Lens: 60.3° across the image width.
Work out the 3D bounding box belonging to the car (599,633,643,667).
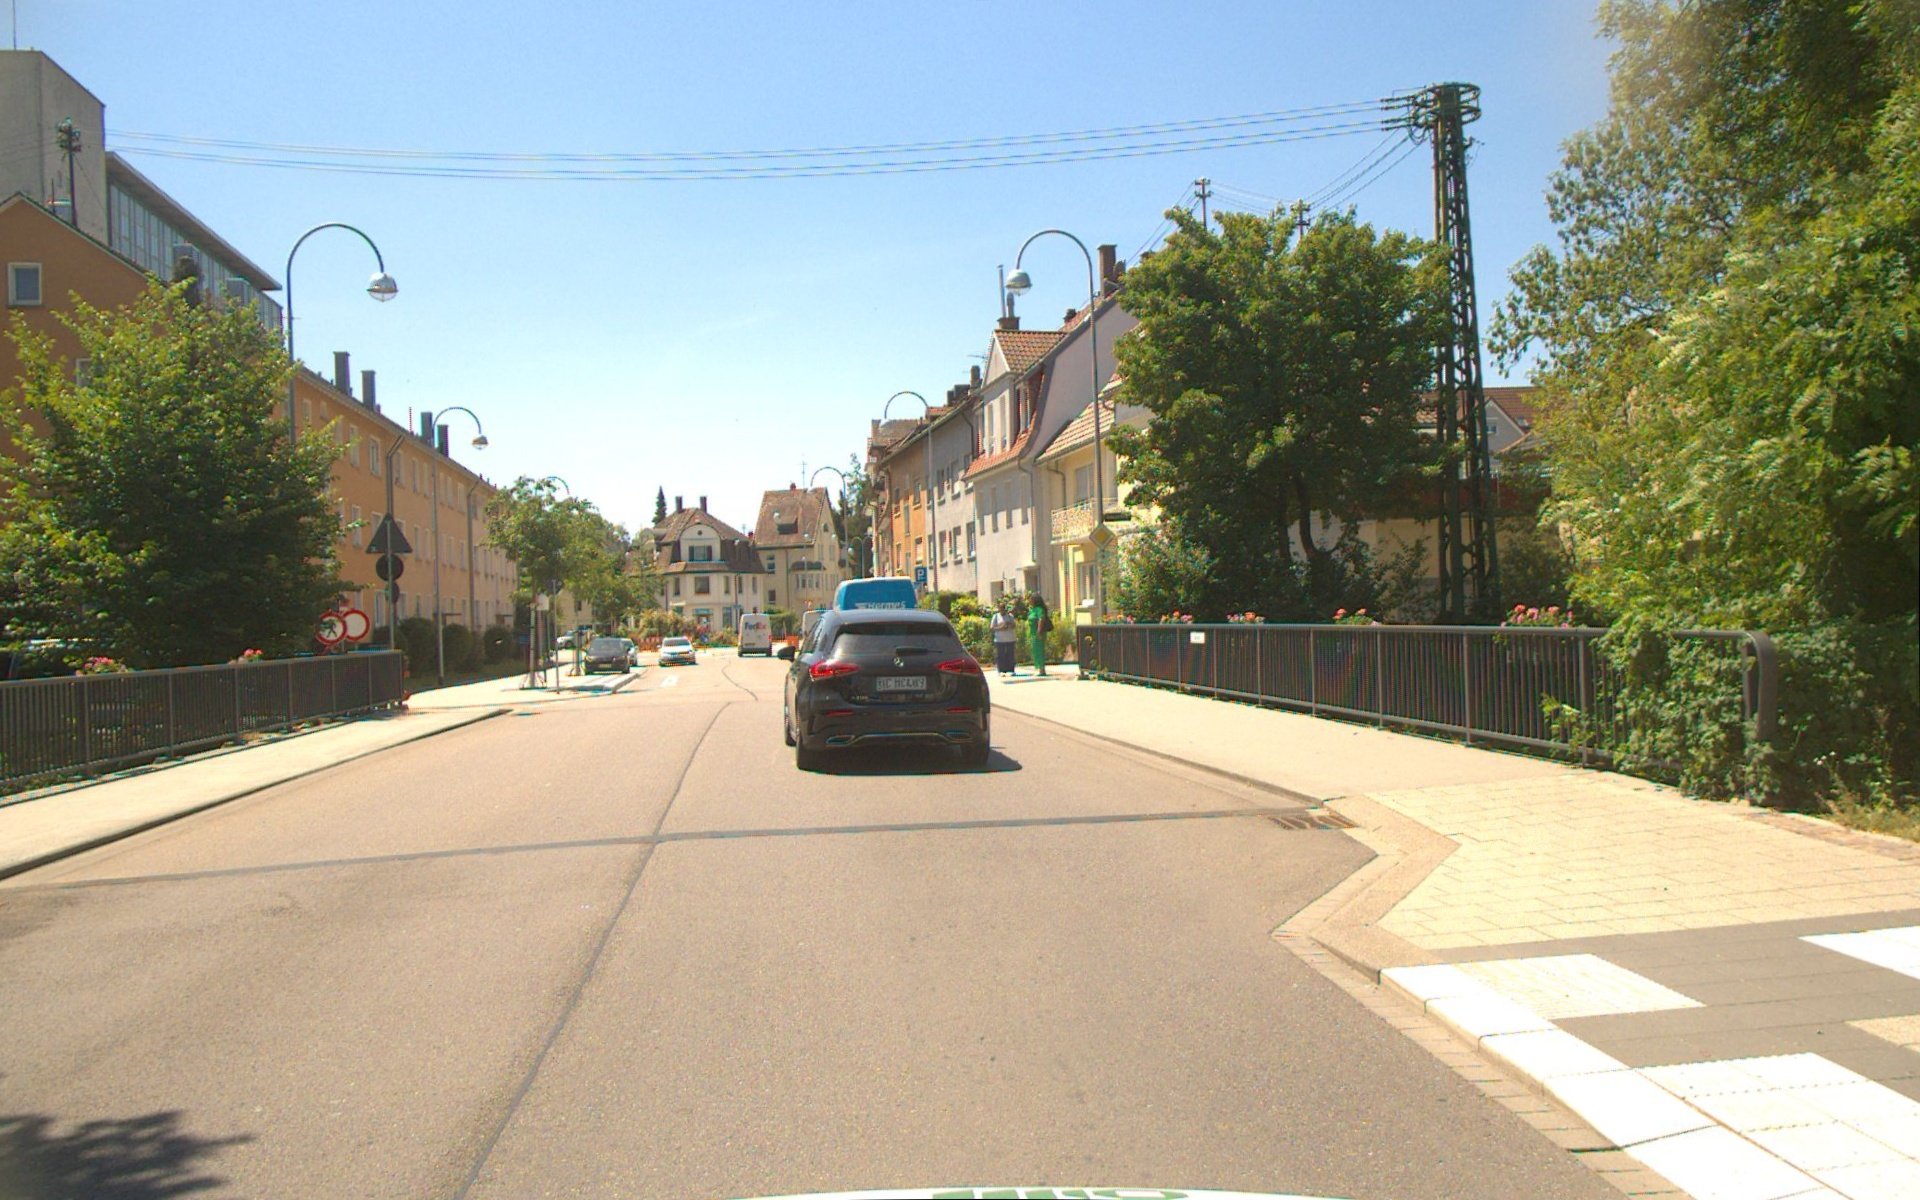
[{"bbox_3d":[-17.685,2.591,86.507,1.956,1.689,3.993,0,-1,-7],"label":"car"}]

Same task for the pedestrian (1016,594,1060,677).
[{"bbox_3d":[1.701,0.769,36.124,0.652,1.772,0.696,-2,-1,-25],"label":"pedestrian"}]

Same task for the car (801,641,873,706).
[{"bbox_3d":[-3.970,2.307,52.877,1.956,1.776,4.321,-2,1,-8],"label":"car"}]

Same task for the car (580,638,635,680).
[{"bbox_3d":[-14.825,2.454,69.718,1.956,1.689,3.993,0,-1,-7],"label":"car"}]

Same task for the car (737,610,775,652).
[{"bbox_3d":[-12.522,1.877,101.354,2.202,2.384,4.844,-1,0,-8],"label":"car"}]

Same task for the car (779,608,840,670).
[{"bbox_3d":[-5.516,1.382,60.182,1.956,2.049,3.993,-2,1,-8],"label":"car"}]

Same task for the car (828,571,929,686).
[{"bbox_3d":[-2.078,0.681,40.731,2.092,2.586,4.641,-2,-1,-7],"label":"car"}]

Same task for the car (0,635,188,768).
[{"bbox_3d":[-15.598,1.747,29.823,1.957,2.049,3.991,-2,1,-10],"label":"car"}]

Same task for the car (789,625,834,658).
[{"bbox_3d":[-7.345,1.999,81.372,1.956,1.416,4.321,-2,1,-8],"label":"car"}]

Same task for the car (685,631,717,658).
[{"bbox_3d":[-16.801,2.891,107.578,1.956,1.689,3.993,0,-1,-7],"label":"car"}]

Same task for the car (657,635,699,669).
[{"bbox_3d":[-14.480,2.651,85.114,1.956,1.689,3.993,0,-1,-7],"label":"car"}]

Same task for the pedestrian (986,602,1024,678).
[{"bbox_3d":[1.003,0.890,37.000,0.603,1.641,0.835,-2,-1,-12],"label":"pedestrian"}]

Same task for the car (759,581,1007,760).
[{"bbox_3d":[-0.894,0.718,16.282,1.796,1.467,3.987,-2,-3,-12],"label":"car"}]
